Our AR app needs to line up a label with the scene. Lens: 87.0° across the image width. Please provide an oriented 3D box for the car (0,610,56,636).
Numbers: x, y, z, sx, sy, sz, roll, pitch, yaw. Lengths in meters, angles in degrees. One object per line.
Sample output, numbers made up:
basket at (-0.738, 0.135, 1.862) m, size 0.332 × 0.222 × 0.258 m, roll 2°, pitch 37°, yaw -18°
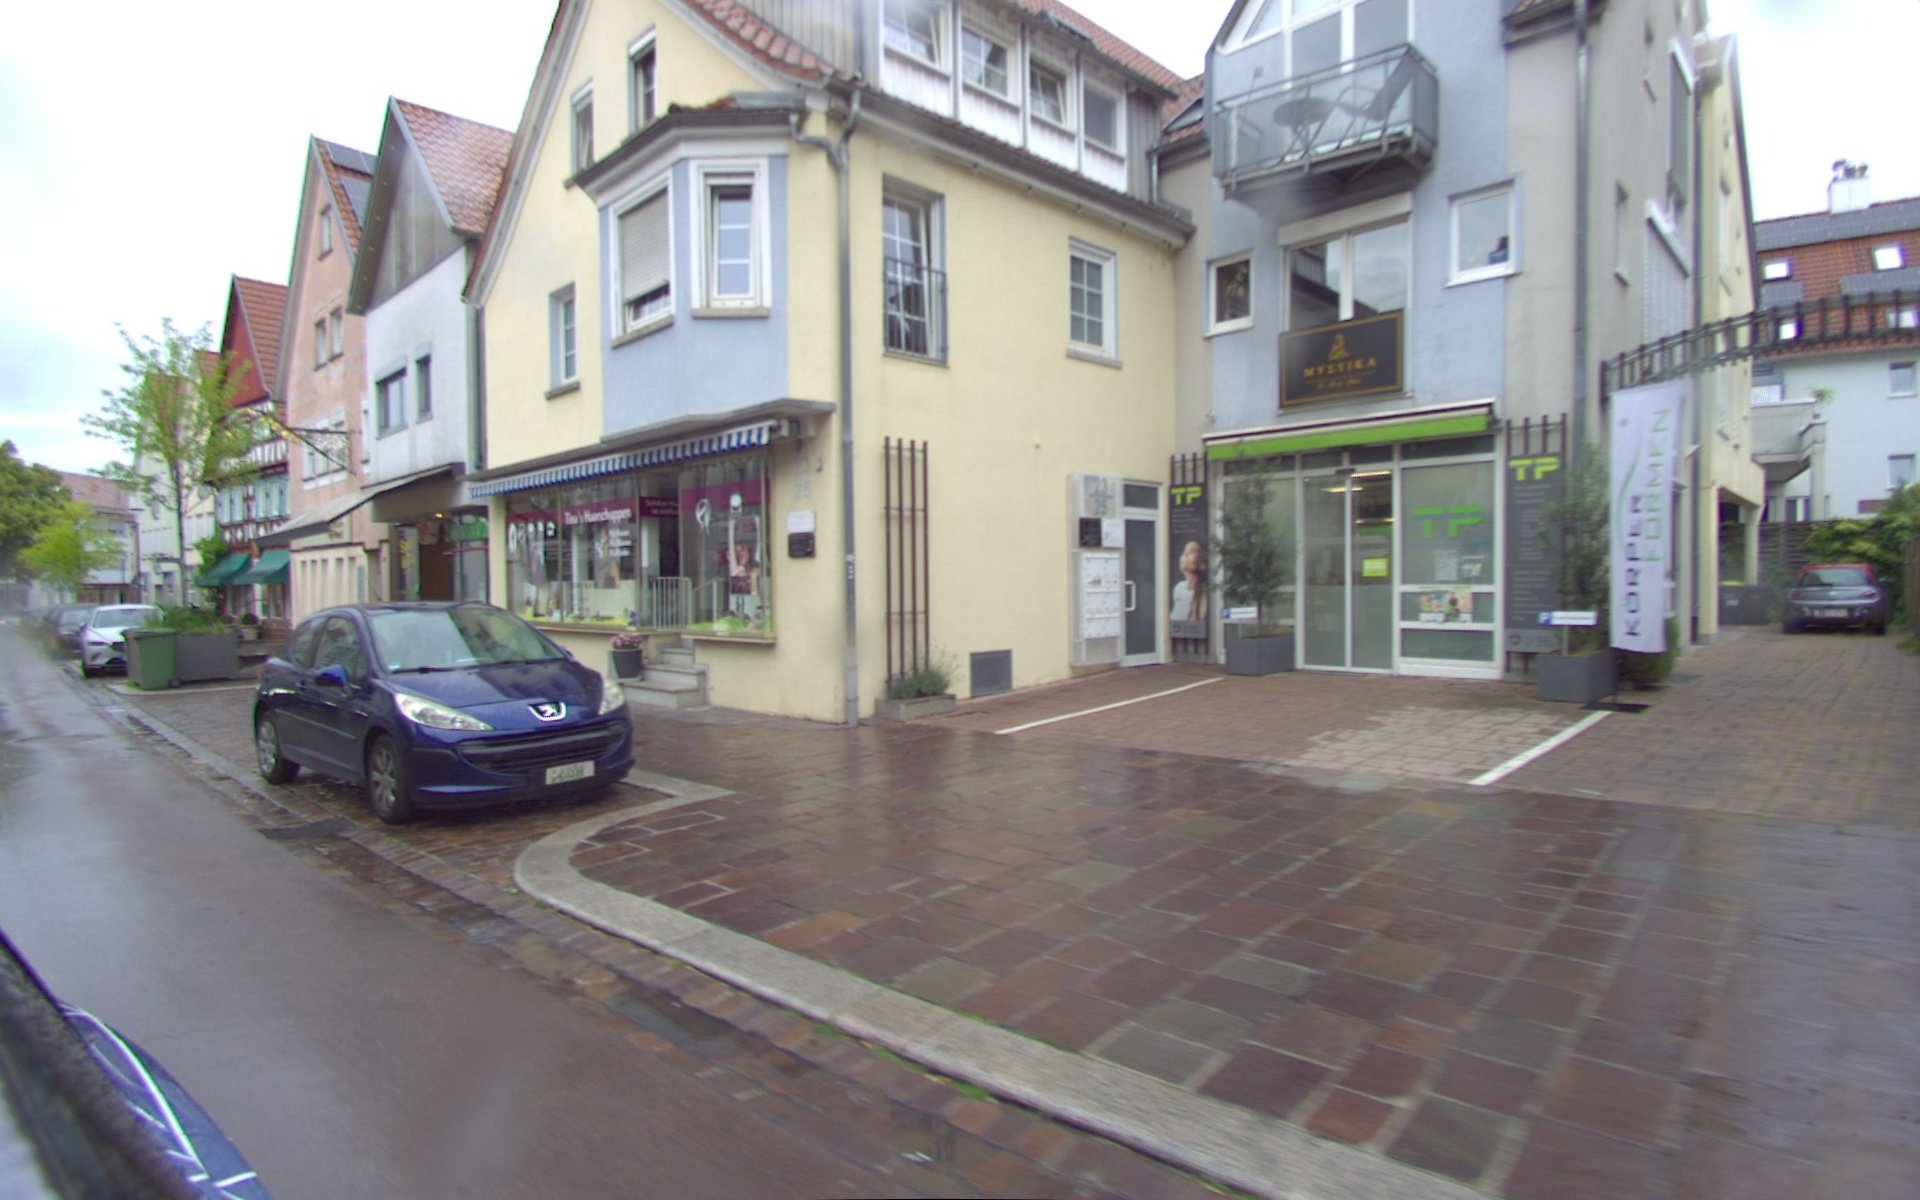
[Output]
car at (-59.195, 1.434, 63.870) m, size 1.965 × 1.464 × 4.013 m, roll 0°, pitch 1°, yaw -22°

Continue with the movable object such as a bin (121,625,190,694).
movable object such as a bin at (-14.231, 1.035, 17.914) m, size 0.610 × 1.114 × 0.806 m, roll 1°, pitch 4°, yaw 41°

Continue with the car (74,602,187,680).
car at (-19.332, 0.868, 23.526) m, size 1.805 × 1.578 × 4.004 m, roll 0°, pitch 1°, yaw -43°

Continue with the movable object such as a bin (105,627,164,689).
movable object such as a bin at (-16.026, 1.111, 19.646) m, size 0.610 × 1.114 × 0.806 m, roll 1°, pitch 1°, yaw 41°

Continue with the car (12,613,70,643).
car at (-47.968, 1.472, 52.804) m, size 4.626 × 1.443 × 1.782 m, roll -2°, pitch -1°, yaw 42°

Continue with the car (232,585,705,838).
car at (-4.066, 0.676, 8.099) m, size 3.998 × 1.483 × 1.973 m, roll -1°, pitch 1°, yaw 41°

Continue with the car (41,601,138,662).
car at (-26.917, 0.908, 31.240) m, size 4.283 × 1.563 × 1.813 m, roll 1°, pitch 4°, yaw 44°

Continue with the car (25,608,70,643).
car at (-44.096, 1.201, 48.912) m, size 1.573 × 1.557 × 3.982 m, roll 0°, pitch 1°, yaw -42°

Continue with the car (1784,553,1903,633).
car at (19.128, -0.154, 21.845) m, size 1.791 × 1.563 × 3.943 m, roll 1°, pitch 1°, yaw 43°

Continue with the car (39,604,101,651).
car at (-36.041, 1.067, 40.959) m, size 1.750 × 1.687 × 4.485 m, roll -2°, pitch 2°, yaw -42°

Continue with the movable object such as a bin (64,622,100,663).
movable object such as a bin at (-24.408, 1.176, 28.148) m, size 0.738 × 1.090 × 0.764 m, roll 0°, pitch 1°, yaw -41°

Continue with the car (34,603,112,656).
car at (-31.401, 0.986, 35.778) m, size 1.812 × 1.687 × 4.543 m, roll -1°, pitch 1°, yaw -45°
